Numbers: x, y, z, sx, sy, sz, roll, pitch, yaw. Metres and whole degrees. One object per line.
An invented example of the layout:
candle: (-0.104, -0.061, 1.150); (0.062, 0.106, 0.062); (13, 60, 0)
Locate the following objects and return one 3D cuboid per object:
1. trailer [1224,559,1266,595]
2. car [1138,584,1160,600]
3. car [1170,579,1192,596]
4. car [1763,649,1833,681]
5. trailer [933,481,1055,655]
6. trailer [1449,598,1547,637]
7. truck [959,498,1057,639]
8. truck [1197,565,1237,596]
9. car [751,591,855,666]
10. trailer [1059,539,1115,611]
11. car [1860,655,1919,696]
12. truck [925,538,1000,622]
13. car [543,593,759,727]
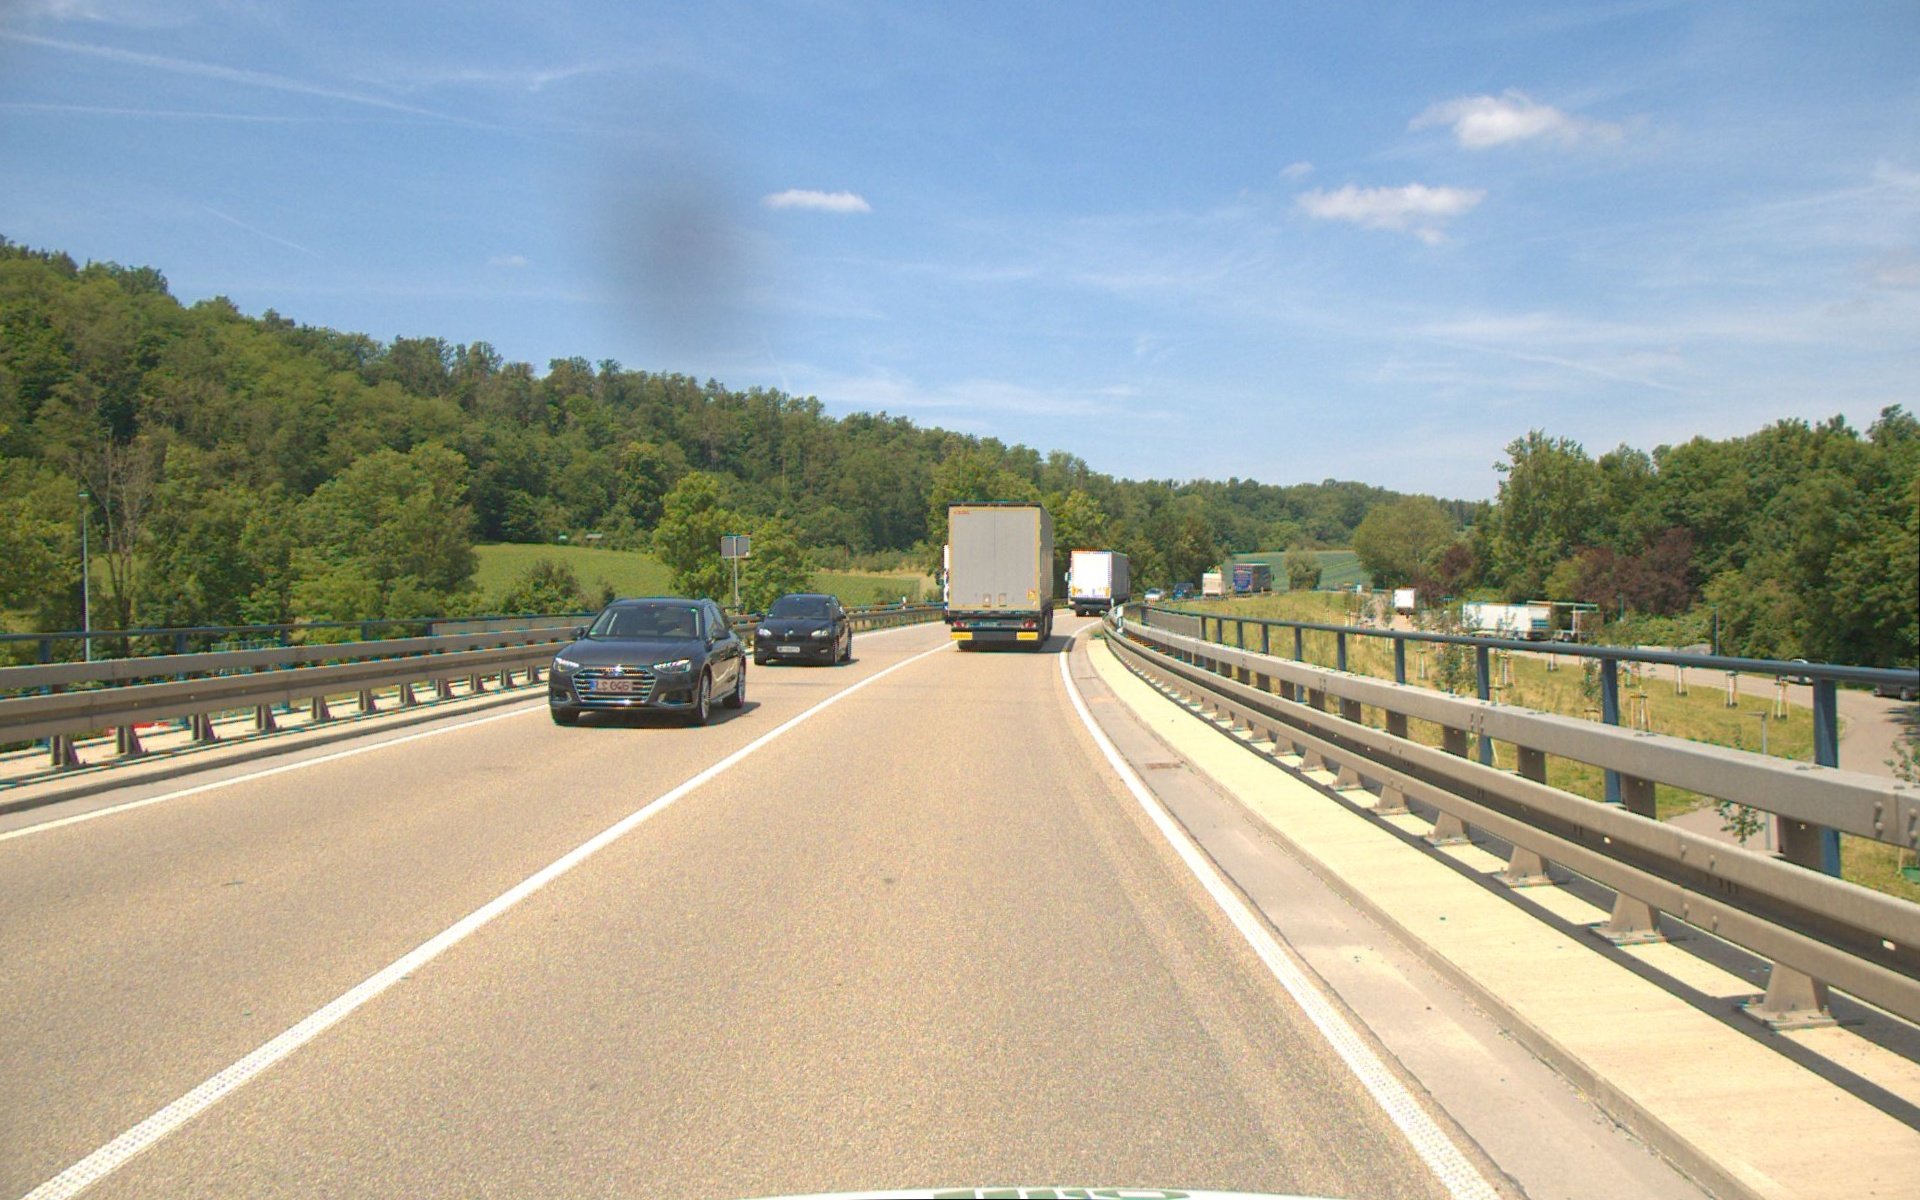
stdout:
trailer: (36.235, -2.807, 209.777); (3.571, 4.337, 12.200); (0, 0, 18)
car: (19.506, -0.821, 170.419); (1.730, 1.520, 4.173); (1, 0, 14)
car: (25.210, -1.452, 188.772); (1.881, 1.892, 5.179); (1, 0, 15)
car: (49.133, 3.794, 97.031); (1.819, 1.508, 4.609); (-3, 1, 2)
trailer: (1.297, -0.959, 50.612); (3.053, 4.578, 13.894); (1, 1, 4)
trailer: (51.418, 1.623, 158.549); (2.675, 3.386, 11.839); (0, 1, -17)
truck: (1.764, -1.074, 57.192); (3.053, 4.573, 6.815); (1, 1, 4)
truck: (29.232, -2.159, 187.811); (3.154, 3.424, 11.883); (0, 0, 15)
car: (-3.354, 0.579, 36.104); (1.685, 1.508, 4.570); (1, 0, 2)
trailer: (8.360, -1.518, 107.686); (3.294, 4.392, 13.873); (0, 0, 6)
car: (48.599, 3.911, 85.743); (1.818, 1.711, 4.202); (-3, 1, 4)
truck: (0.212, -0.993, 81.202); (2.853, 3.870, 9.714); (0, 1, 5)
car: (-3.689, 0.657, 20.554); (1.685, 1.460, 4.618); (1, 0, 2)
